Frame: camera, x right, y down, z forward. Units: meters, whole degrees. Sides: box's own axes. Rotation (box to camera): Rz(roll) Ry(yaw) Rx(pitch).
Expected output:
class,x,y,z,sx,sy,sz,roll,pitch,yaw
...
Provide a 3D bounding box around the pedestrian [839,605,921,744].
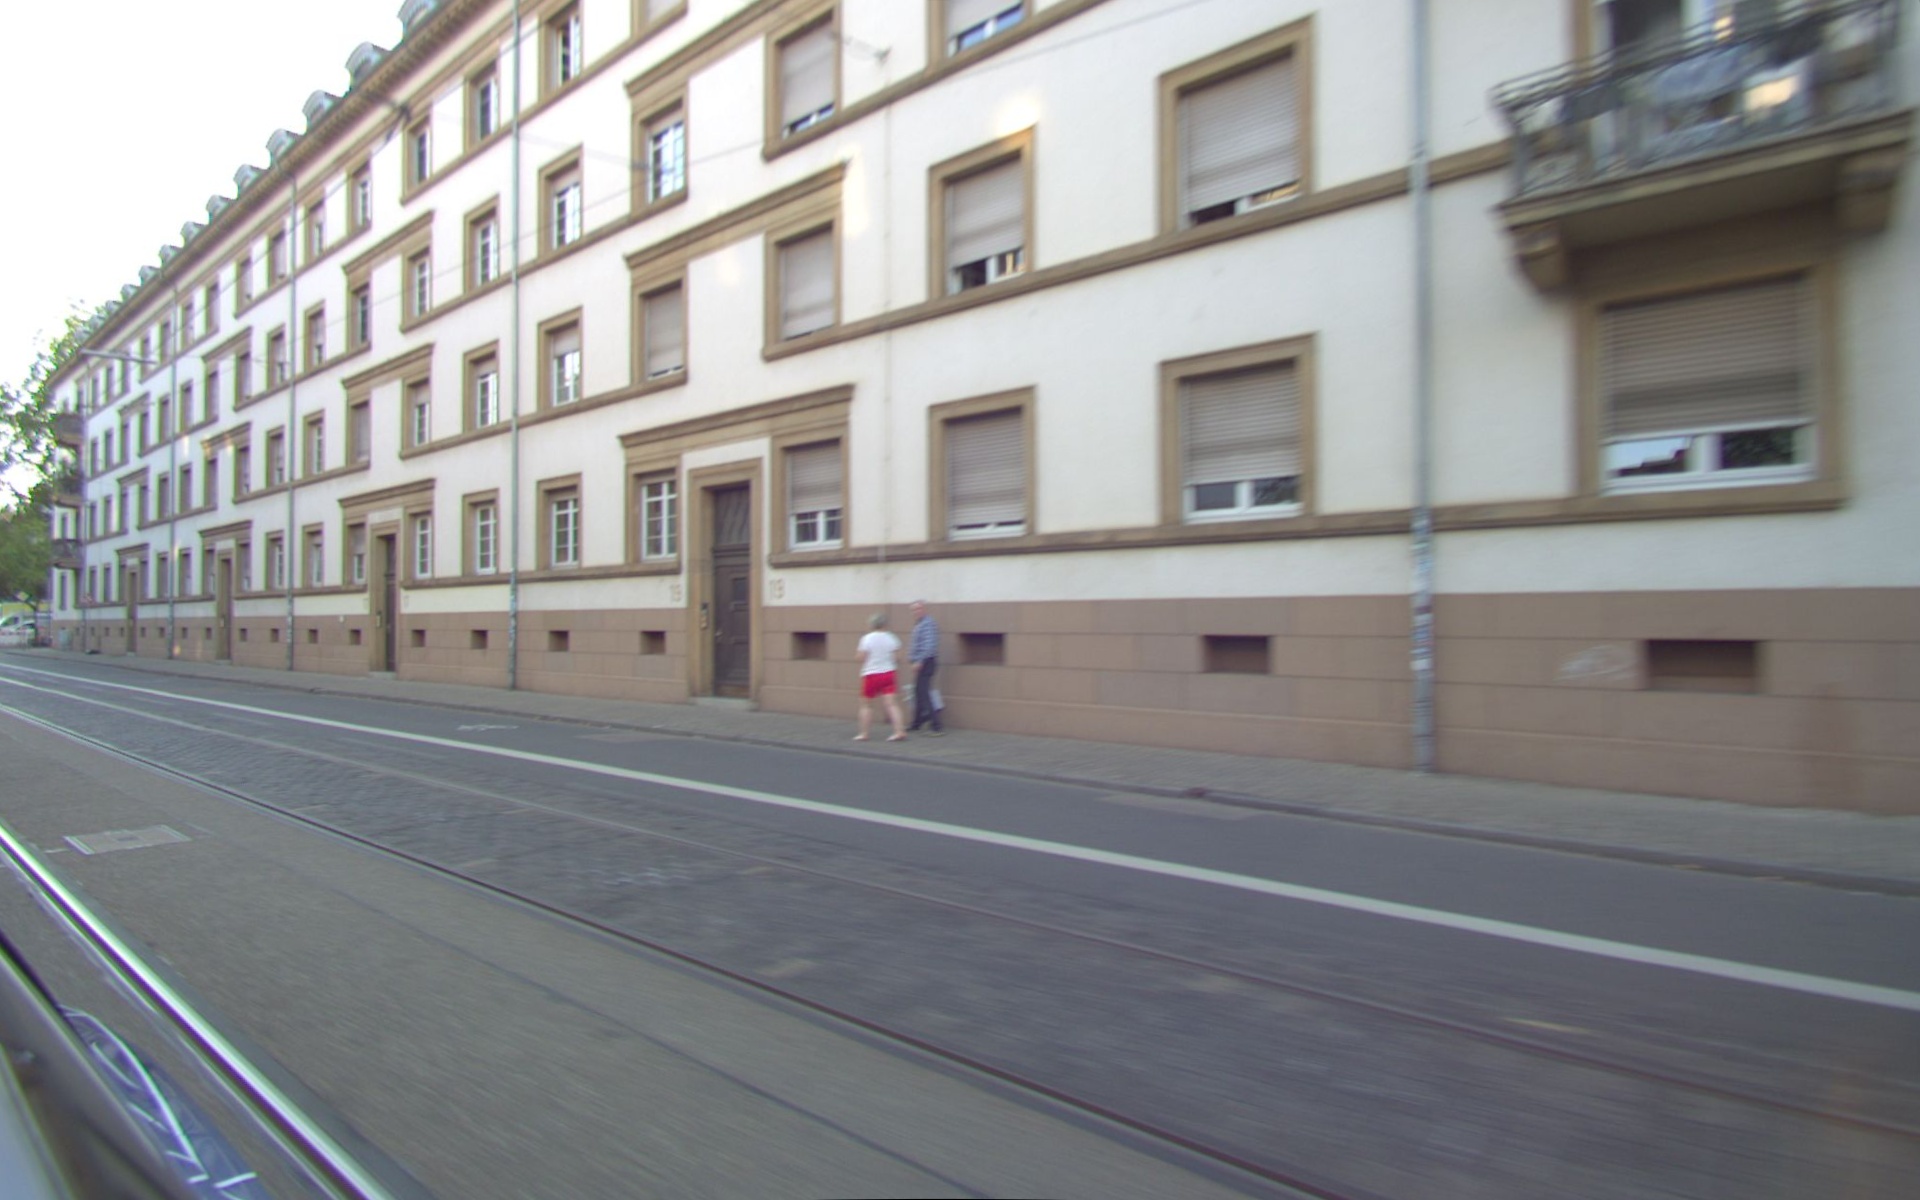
class,x,y,z,sx,sy,sz,roll,pitch,yaw
pedestrian,-0.974,0.886,12.323,0.810,1.622,0.585,-1,-2,38

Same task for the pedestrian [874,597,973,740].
class,x,y,z,sx,sy,sz,roll,pitch,yaw
pedestrian,-0.458,0.837,12.808,0.980,1.714,0.788,-1,-2,38

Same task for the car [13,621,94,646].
class,x,y,z,sx,sy,sz,roll,pitch,yaw
car,-75.231,2.768,84.042,2.014,1.888,4.782,-2,-1,41

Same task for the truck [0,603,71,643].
class,x,y,z,sx,sy,sz,roll,pitch,yaw
truck,-84.623,2.050,90.758,2.562,3.454,6.993,-2,-1,37

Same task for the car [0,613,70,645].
class,x,y,z,sx,sy,sz,roll,pitch,yaw
car,-80.070,2.449,86.889,2.225,2.617,5.171,-2,-1,36
